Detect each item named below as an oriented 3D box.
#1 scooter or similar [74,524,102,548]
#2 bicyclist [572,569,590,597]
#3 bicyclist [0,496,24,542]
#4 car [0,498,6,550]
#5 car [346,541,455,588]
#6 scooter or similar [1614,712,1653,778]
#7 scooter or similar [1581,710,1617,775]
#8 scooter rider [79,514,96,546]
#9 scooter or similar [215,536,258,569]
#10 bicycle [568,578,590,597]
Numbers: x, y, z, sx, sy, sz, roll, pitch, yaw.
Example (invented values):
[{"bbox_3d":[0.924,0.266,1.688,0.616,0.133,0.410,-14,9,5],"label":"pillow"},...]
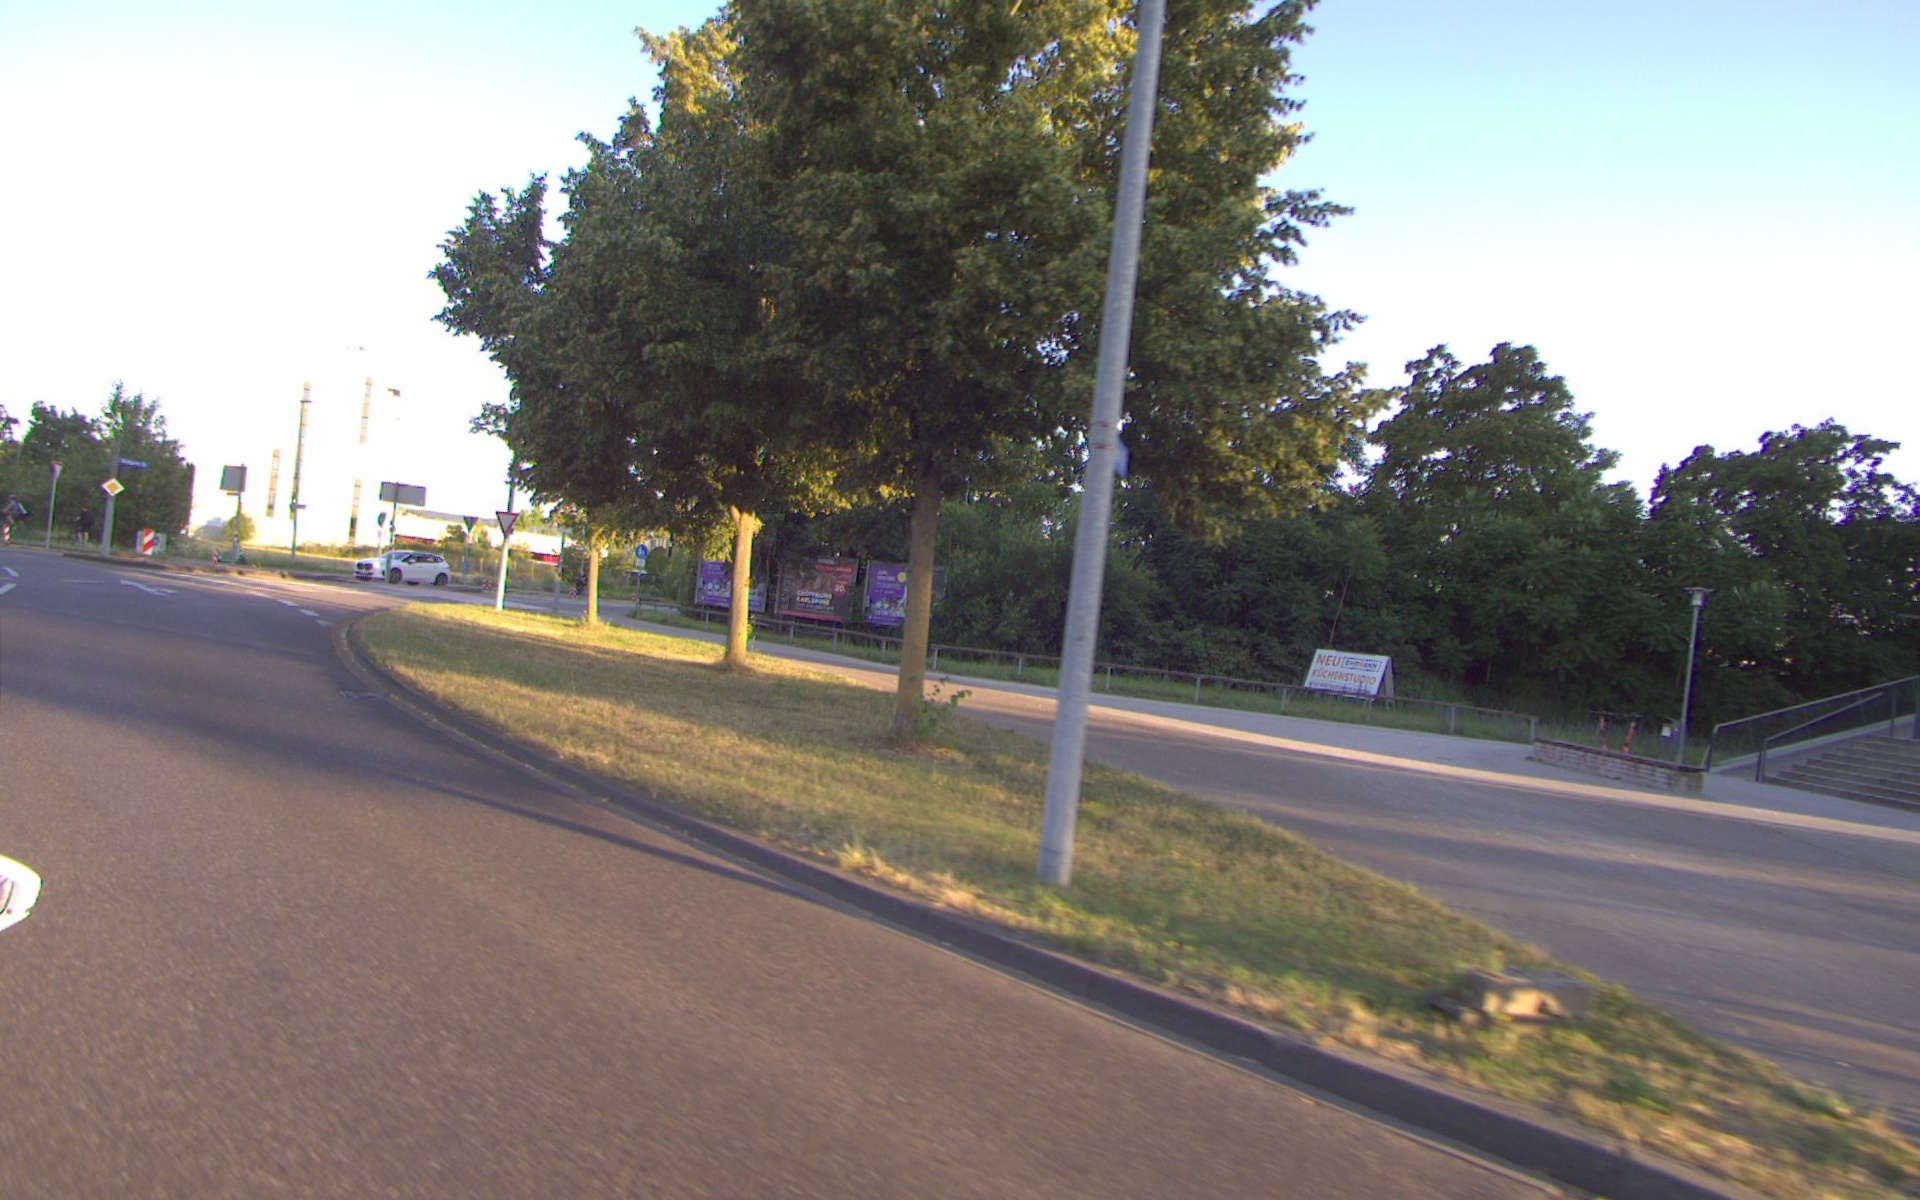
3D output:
[{"bbox_3d":[-38.526,-2.832,44.443,1.019,0.925,0.247,7,0,10],"label":"scooter or similar"},{"bbox_3d":[-25.578,-1.135,67.876,0.828,1.765,0.537,6,0,6],"label":"bicyclist"},{"bbox_3d":[-42.170,-3.591,44.516,0.901,1.922,0.635,4,1,-35],"label":"bicyclist"},{"bbox_3d":[-28.945,-2.321,28.654,4.072,1.543,1.813,6,-1,37],"label":"car"},{"bbox_3d":[-25.207,-1.553,45.489,1.855,1.576,4.099,5,-2,17],"label":"car"},{"bbox_3d":[13.982,2.980,20.901,0.360,1.235,1.576,7,-1,27],"label":"scooter or similar"},{"bbox_3d":[13.440,2.970,21.180,0.360,1.235,1.576,7,-1,27],"label":"scooter or similar"},{"bbox_3d":[-38.498,-3.093,44.409,0.399,1.355,0.265,7,0,10],"label":"scooter rider"},{"bbox_3d":[-29.672,-1.947,41.264,1.357,1.177,0.442,7,0,3],"label":"scooter or similar"},{"bbox_3d":[-25.694,-0.820,67.838,1.346,1.102,0.280,6,0,6],"label":"bicycle"}]
